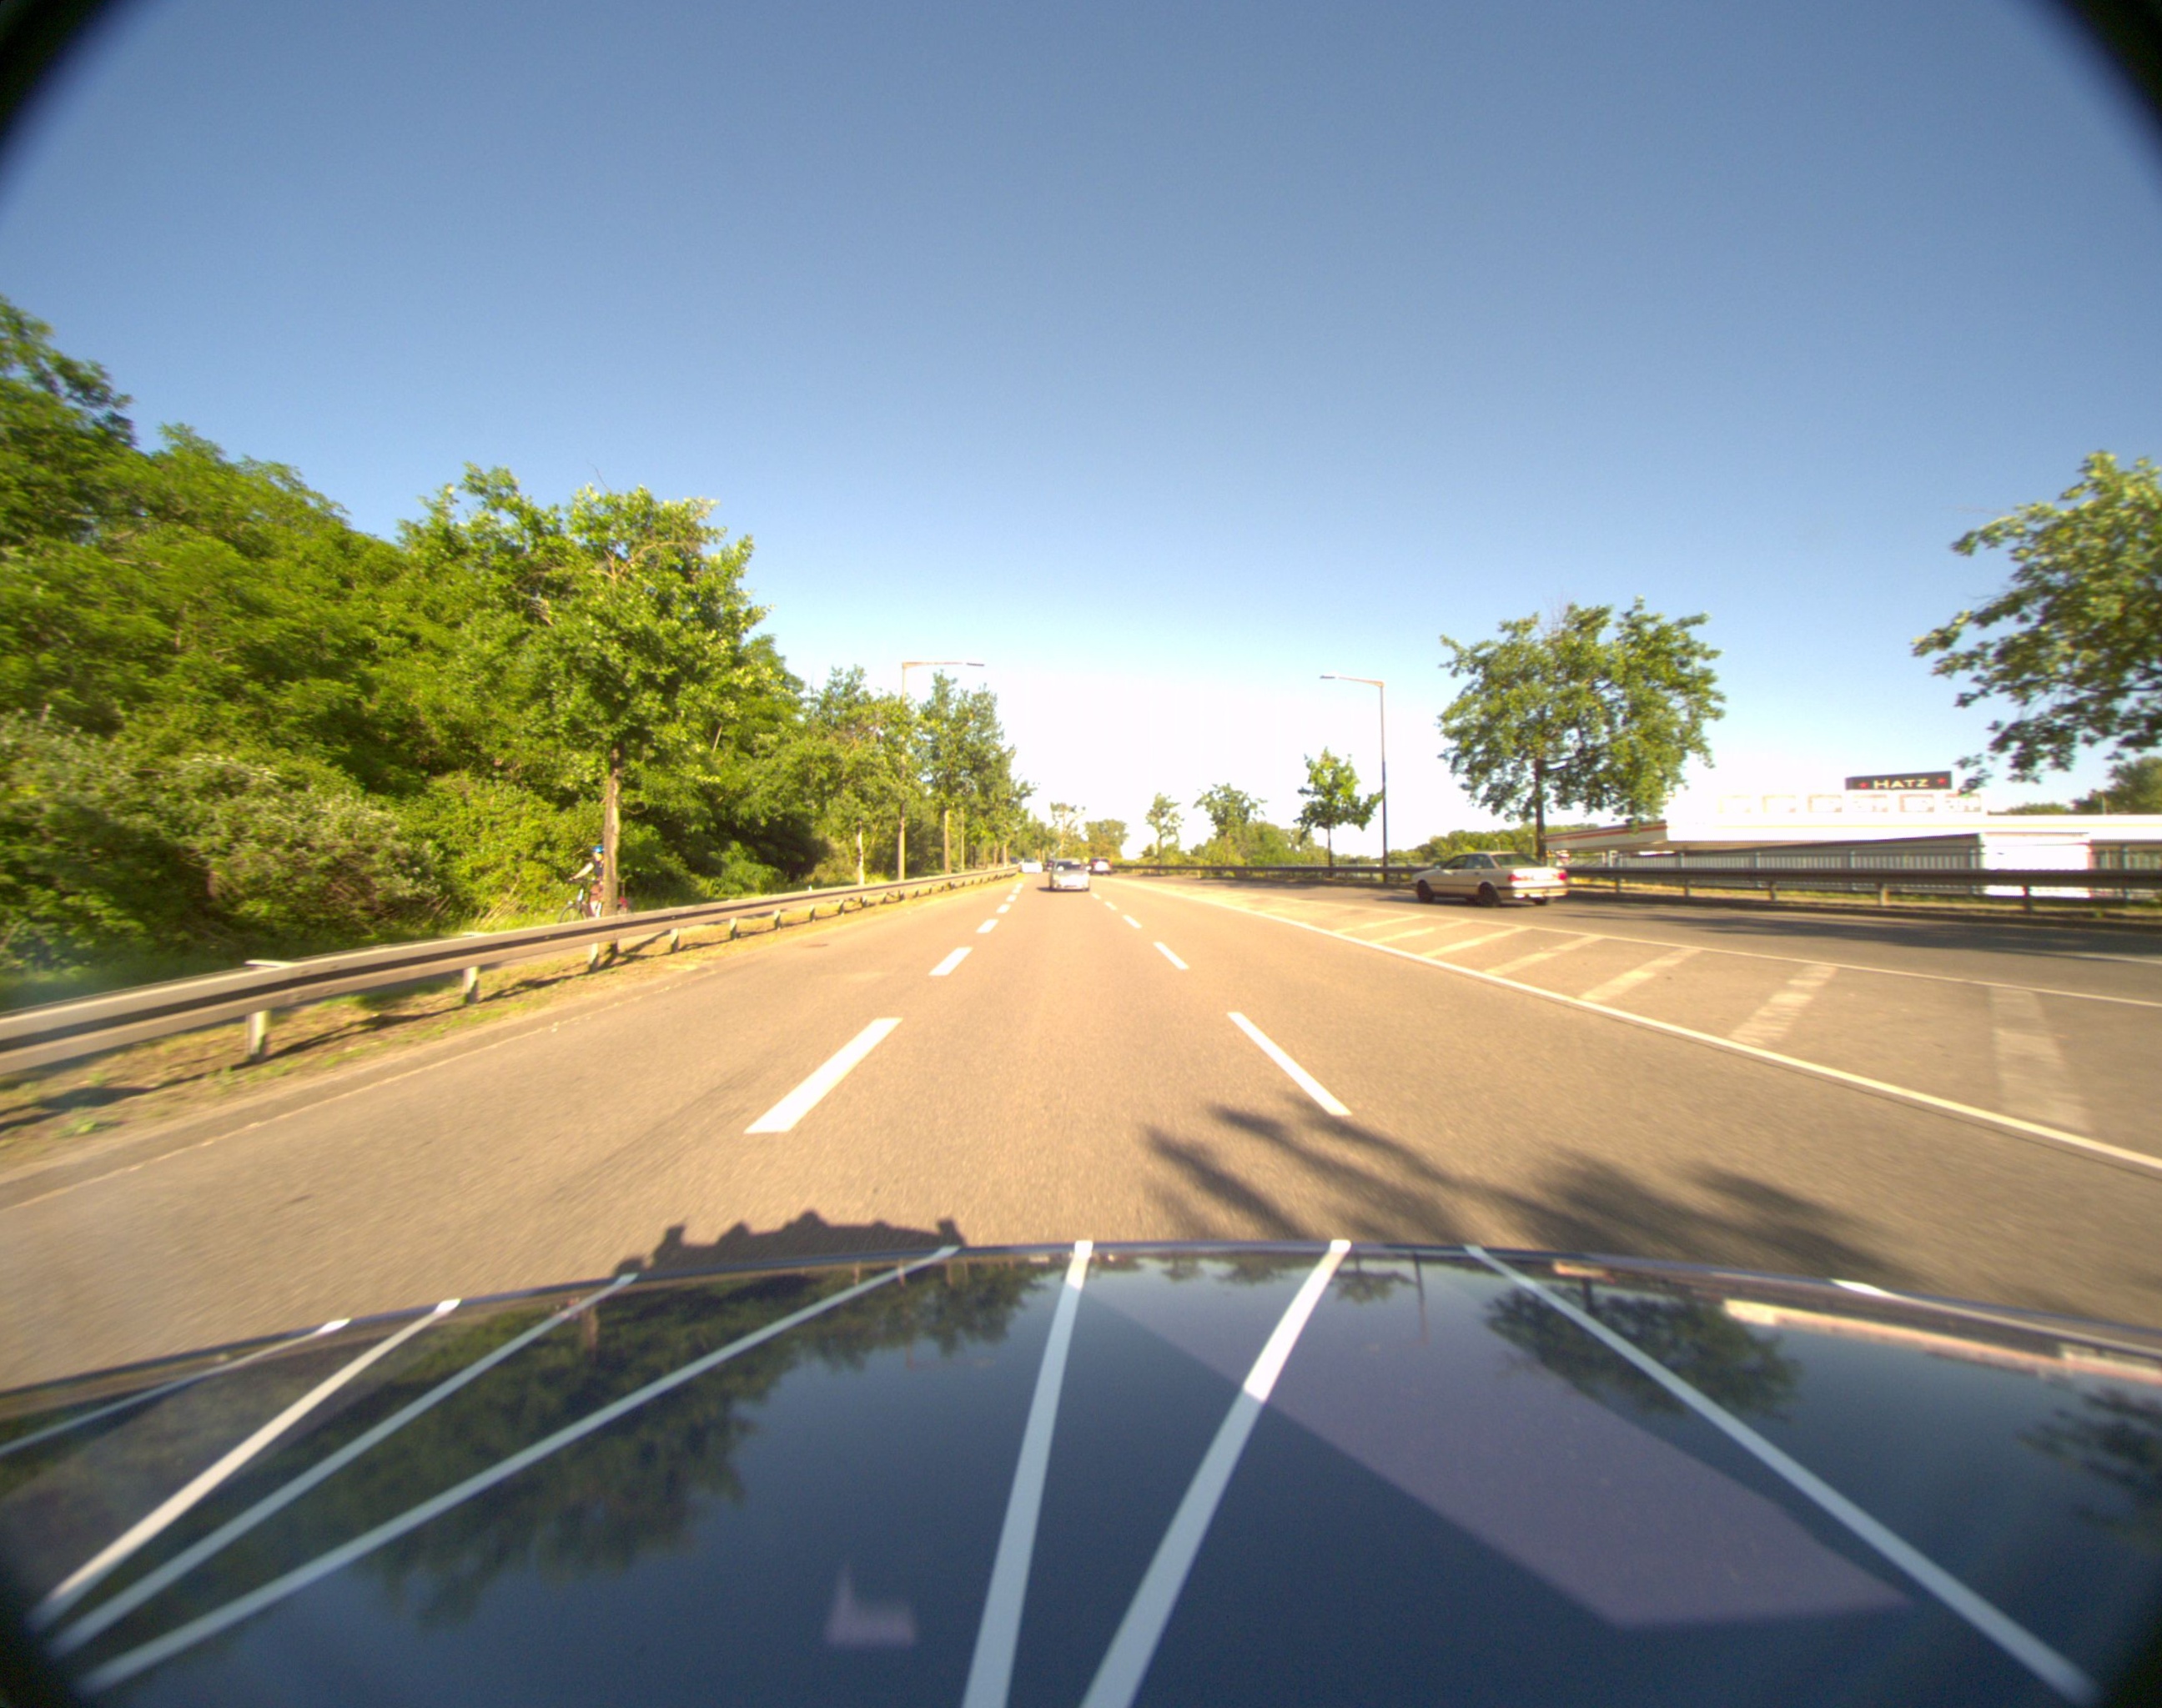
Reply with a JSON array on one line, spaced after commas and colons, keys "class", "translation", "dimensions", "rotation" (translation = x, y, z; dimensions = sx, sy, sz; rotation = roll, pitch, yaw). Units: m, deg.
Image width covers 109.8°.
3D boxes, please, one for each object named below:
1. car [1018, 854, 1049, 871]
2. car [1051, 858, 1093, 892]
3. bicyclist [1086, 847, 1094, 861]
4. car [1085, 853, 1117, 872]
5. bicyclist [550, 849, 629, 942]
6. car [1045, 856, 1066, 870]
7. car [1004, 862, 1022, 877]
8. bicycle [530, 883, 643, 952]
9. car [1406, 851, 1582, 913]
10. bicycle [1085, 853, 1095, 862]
[{"class": "car", "translation": [-4.647, 0.793, 74.213], "dimensions": [2.153, 1.558, 4.192], "rotation": [2, -1, -16]}, {"class": "car", "translation": [-0.459, 0.905, 34.764], "dimensions": [1.683, 1.433, 3.857], "rotation": [1, -1, -4]}, {"class": "bicyclist", "translation": [1.055, -0.031, 89.586], "dimensions": [0.654, 1.614, 0.873], "rotation": [1, 0, -13]}, {"class": "car", "translation": [1.665, 0.733, 64.959], "dimensions": [1.768, 1.480, 4.273], "rotation": [-2, 0, -11]}, {"class": "bicyclist", "translation": [-8.670, 0.716, 13.448], "dimensions": [0.709, 1.569, 1.005], "rotation": [1, 0, 1]}, {"class": "car", "translation": [-2.859, 0.971, 83.265], "dimensions": [1.670, 1.437, 3.845], "rotation": [0, 0, -12]}, {"class": "car", "translation": [-8.054, 1.893, 90.143], "dimensions": [2.000, 1.706, 4.270], "rotation": [-1, -2, -6]}, {"class": "bicycle", "translation": [-8.681, 1.086, 13.442], "dimensions": [0.702, 1.068, 1.921], "rotation": [1, 0, 1]}, {"class": "car", "translation": [10.568, 0.660, 19.871], "dimensions": [1.735, 1.377, 4.494], "rotation": [-2, 0, -7]}, {"class": "bicycle", "translation": [1.060, 0.429, 89.498], "dimensions": [0.663, 1.089, 2.106], "rotation": [1, 0, -13]}]
